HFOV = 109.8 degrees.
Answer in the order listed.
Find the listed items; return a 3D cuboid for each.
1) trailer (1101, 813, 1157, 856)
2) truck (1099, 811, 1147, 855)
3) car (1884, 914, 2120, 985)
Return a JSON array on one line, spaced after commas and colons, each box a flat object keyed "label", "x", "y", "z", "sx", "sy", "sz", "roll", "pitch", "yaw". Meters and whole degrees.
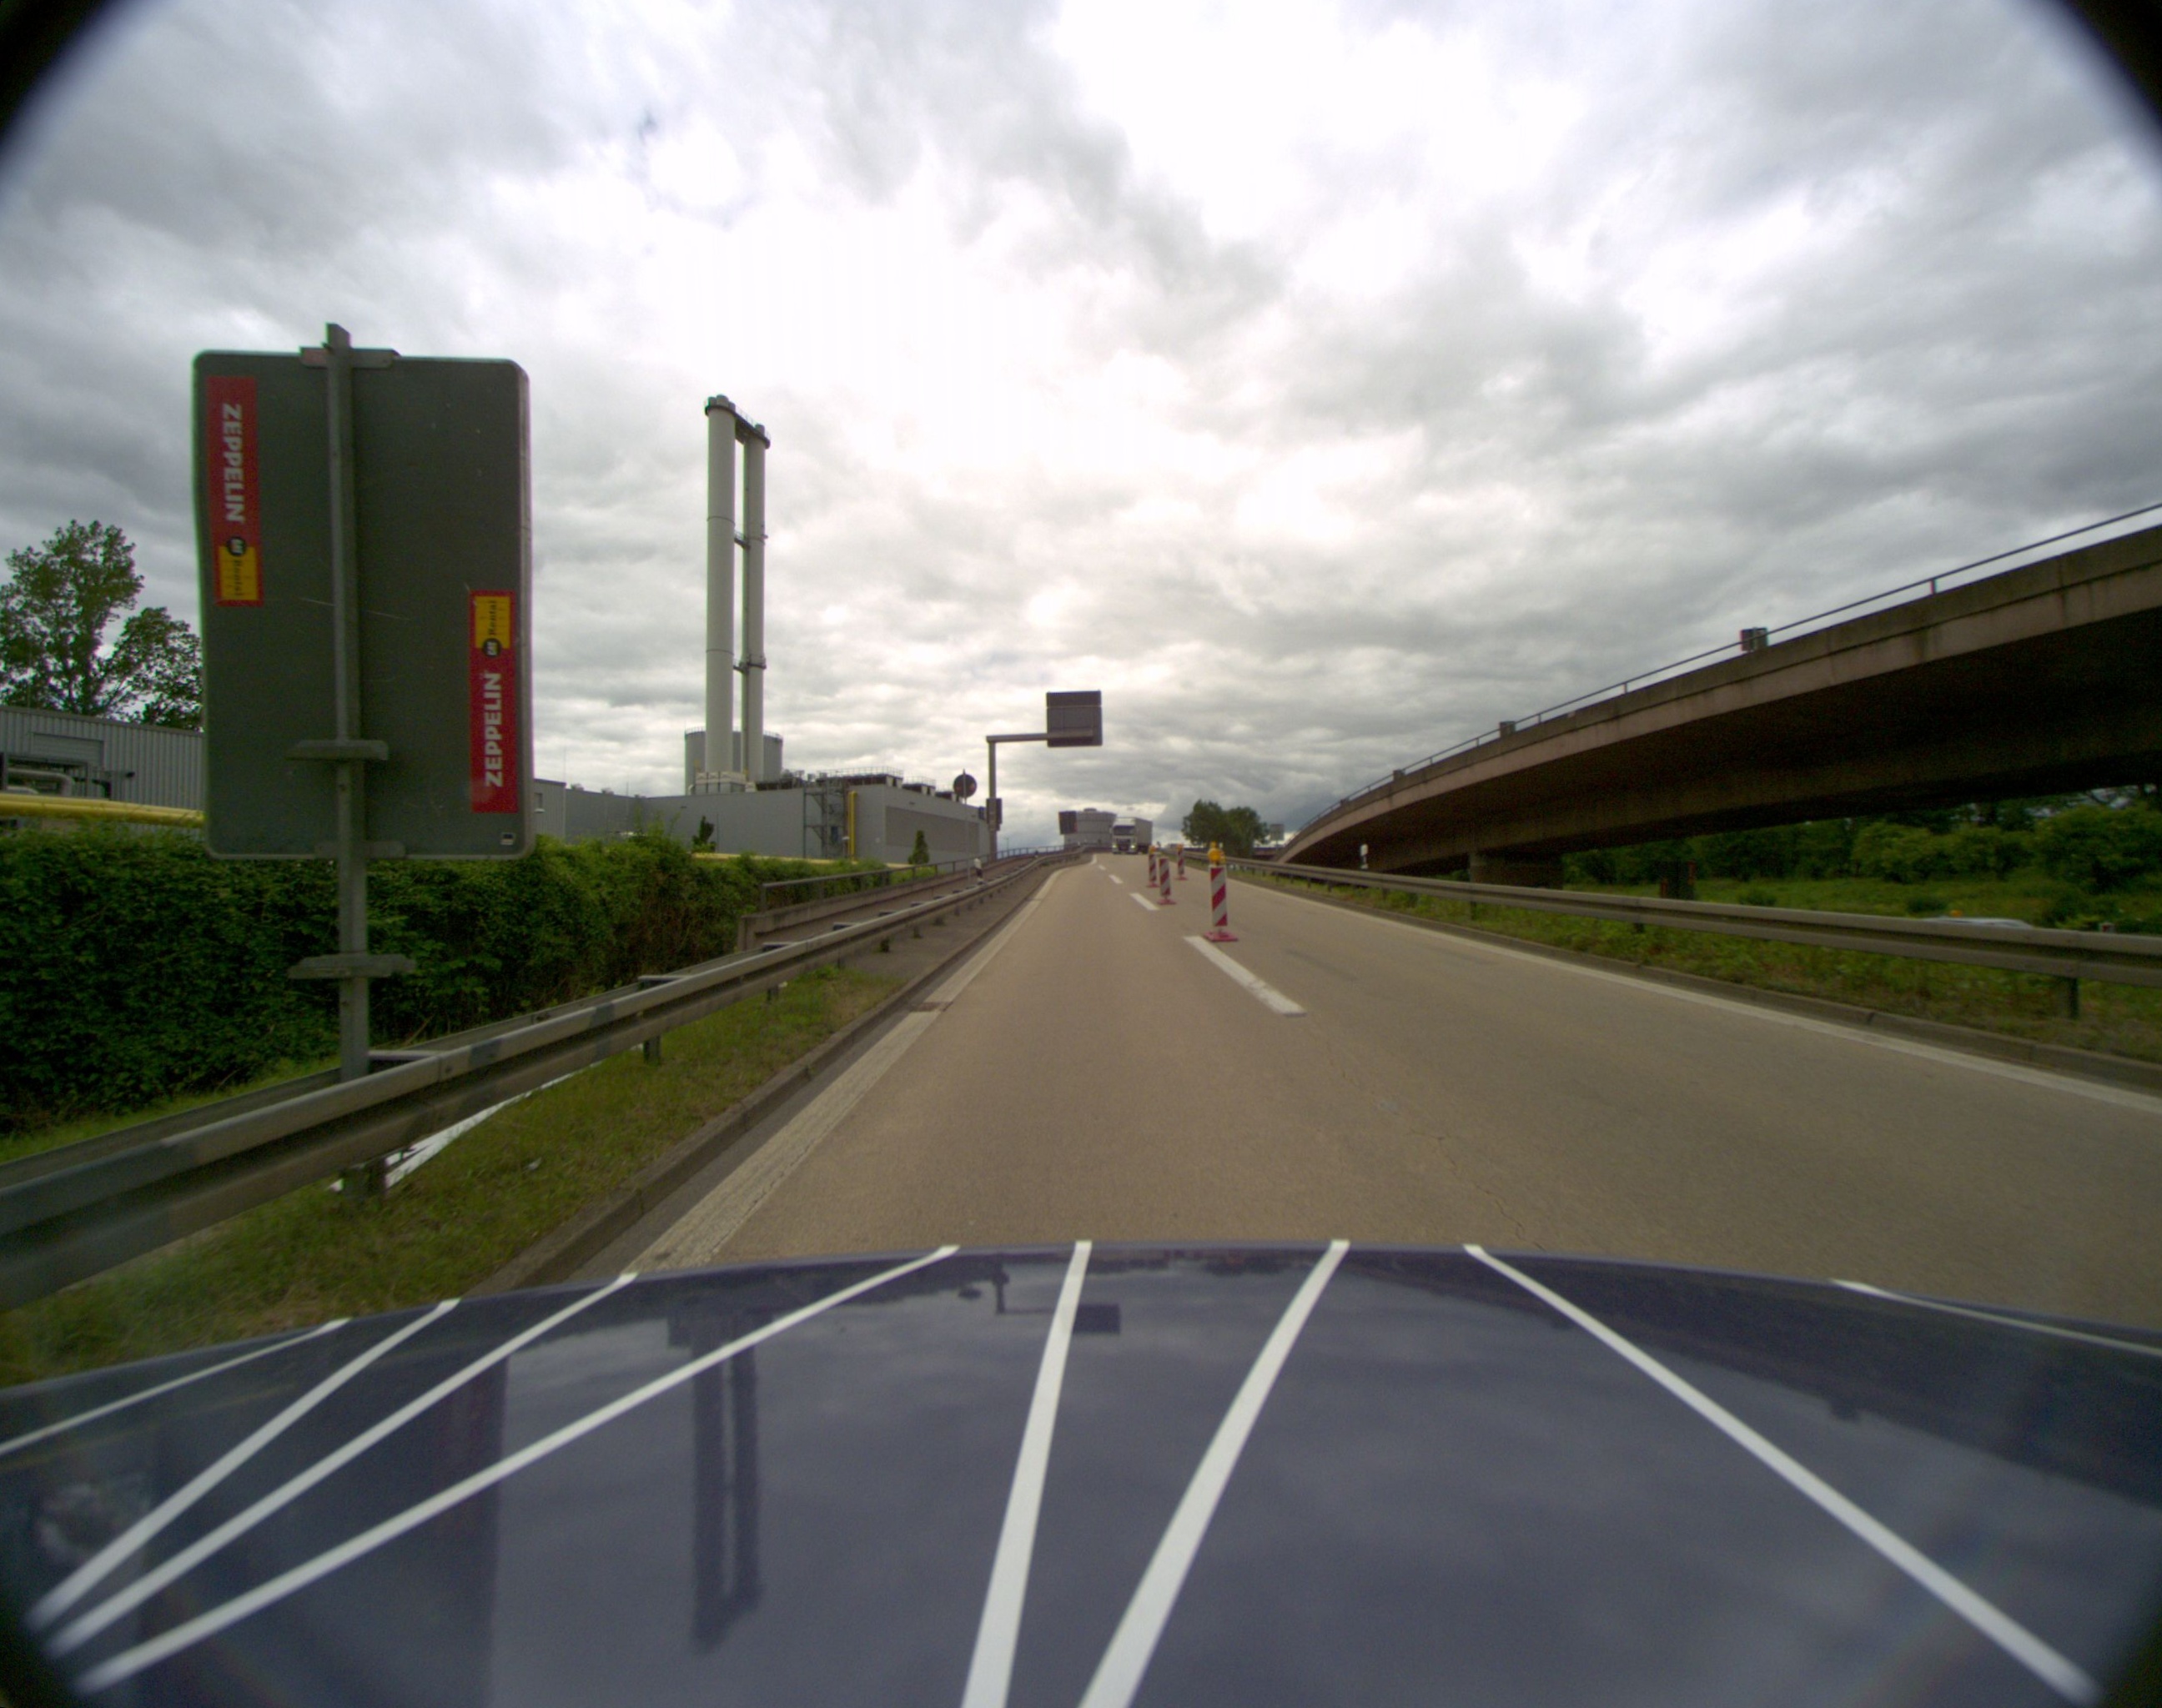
[{"label": "trailer", "x": 5.700, "y": -2.023, "z": 86.859, "sx": 4.121, "sy": 4.218, "sz": 13.908, "roll": -2, "pitch": -2, "yaw": 12}, {"label": "truck", "x": 4.524, "y": -2.163, "z": 80.726, "sx": 4.161, "sy": 4.277, "sz": 5.972, "roll": -2, "pitch": -1, "yaw": 12}, {"label": "car", "x": 26.495, "y": 2.695, "z": 22.148, "sx": 2.041, "sy": 1.605, "sz": 4.299, "roll": -2, "pitch": -1, "yaw": 10}]
